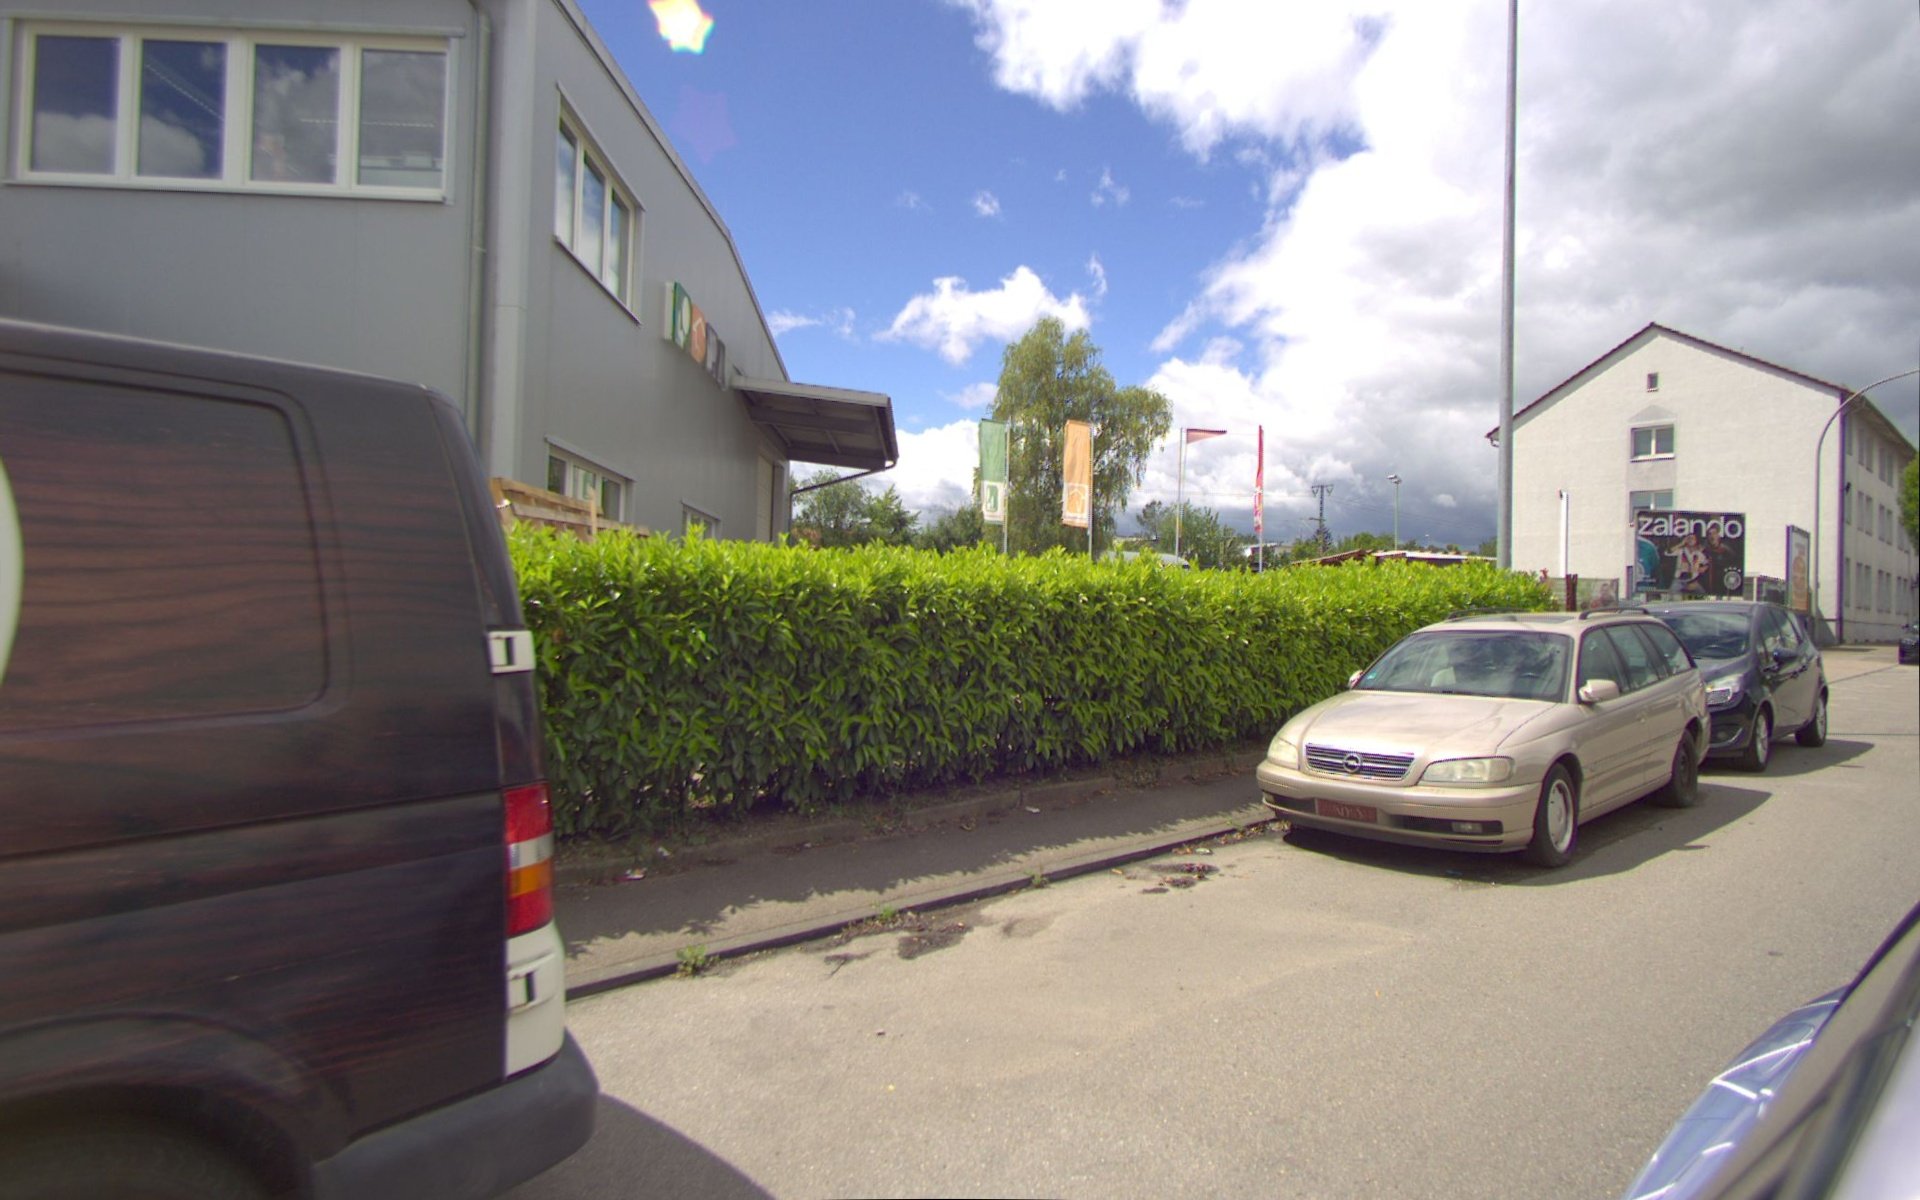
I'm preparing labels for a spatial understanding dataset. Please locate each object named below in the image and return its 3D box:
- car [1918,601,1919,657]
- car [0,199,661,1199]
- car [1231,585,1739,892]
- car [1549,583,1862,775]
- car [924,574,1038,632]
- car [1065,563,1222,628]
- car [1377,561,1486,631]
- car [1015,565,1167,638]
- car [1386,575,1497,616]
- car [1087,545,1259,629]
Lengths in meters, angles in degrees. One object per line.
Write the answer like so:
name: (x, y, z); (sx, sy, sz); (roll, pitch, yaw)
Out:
car: (27.804, 0.786, 27.804); (4.627, 1.484, 1.794); (0, 1, -42)
car: (-3.095, 0.462, 1.002); (5.053, 2.015, 1.872); (0, 0, -41)
car: (4.014, 0.702, 7.308); (4.651, 1.559, 1.658); (0, 0, -41)
car: (7.960, 0.678, 10.680); (4.048, 1.659, 1.683); (0, 0, -39)
car: (0.733, 0.077, 34.570); (3.761, 1.808, 1.589); (2, 1, 3)
car: (6.165, -0.164, 34.479); (5.004, 2.006, 1.834); (2, 1, 3)
car: (20.206, -0.228, 43.250); (5.362, 2.802, 2.280); (-2, 2, -41)
car: (3.604, 0.018, 28.365); (3.964, 1.895, 1.818); (1, 1, -1)
car: (25.477, -0.255, 53.664); (1.966, 2.060, 4.959); (-2, 2, -41)
car: (7.809, -0.490, 37.577); (5.866, 2.879, 2.065); (2, 1, 3)
